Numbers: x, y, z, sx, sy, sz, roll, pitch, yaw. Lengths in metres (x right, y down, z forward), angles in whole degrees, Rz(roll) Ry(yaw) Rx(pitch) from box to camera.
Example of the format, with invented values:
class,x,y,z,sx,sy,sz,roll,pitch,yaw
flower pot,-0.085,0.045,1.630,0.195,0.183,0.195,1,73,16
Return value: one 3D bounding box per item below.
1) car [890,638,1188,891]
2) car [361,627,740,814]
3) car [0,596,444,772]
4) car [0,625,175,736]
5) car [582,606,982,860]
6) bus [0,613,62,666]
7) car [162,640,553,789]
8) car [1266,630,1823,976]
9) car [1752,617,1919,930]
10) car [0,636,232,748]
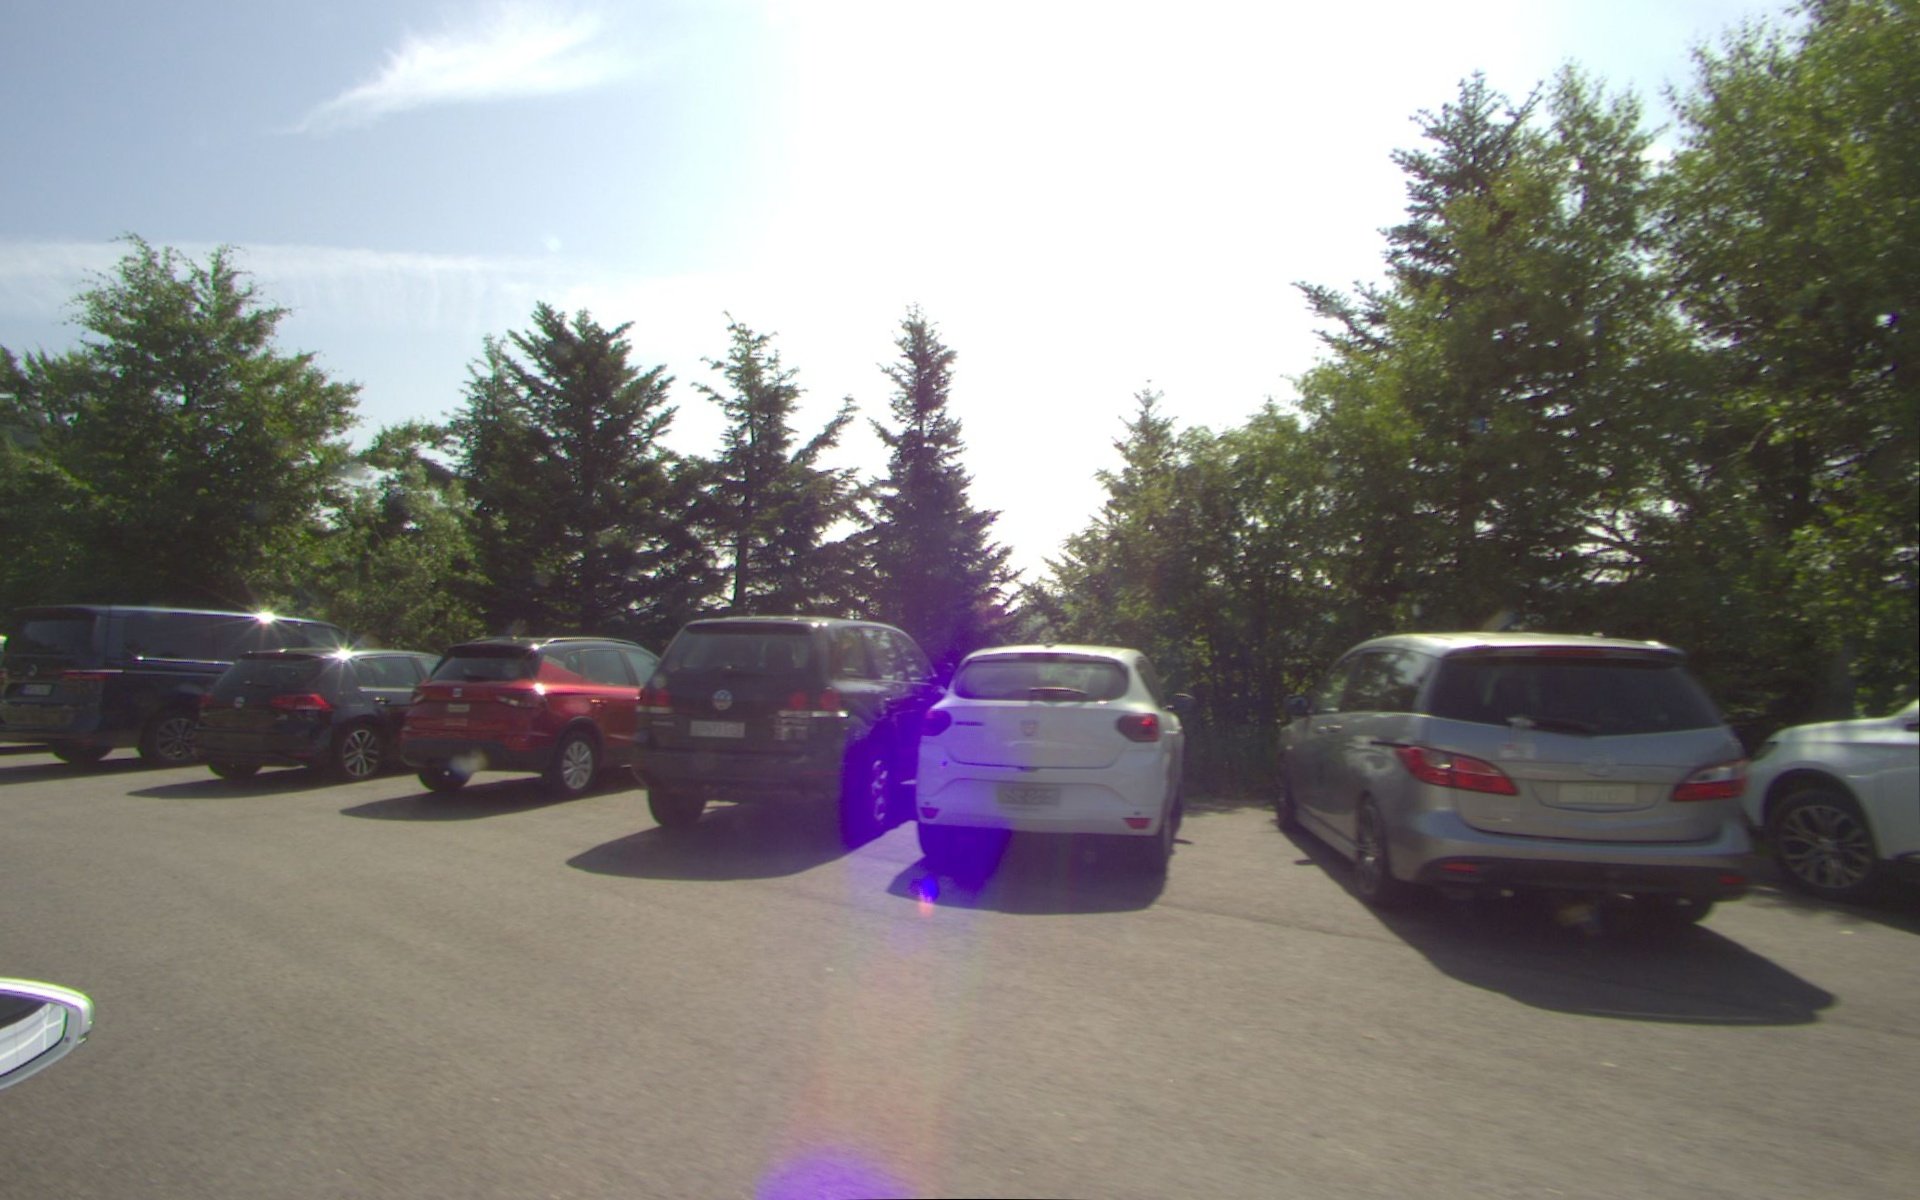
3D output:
class,x,y,z,sx,sy,sz,roll,pitch,yaw
car,0.903,1.117,8.149,1.735,1.494,4.000,0,-4,15
car,-4.165,1.196,10.997,1.829,1.609,4.000,1,-3,13
car,-9.672,1.064,13.441,1.932,1.903,4.767,0,-3,20
car,-15.423,1.288,16.101,1.962,1.681,4.004,0,-6,12
car,-1.271,1.050,9.206,1.954,1.715,4.273,1,-3,15
bus,-70.725,2.672,69.024,12.736,3.625,2.961,2,0,-34
car,-6.883,1.264,12.024,1.712,1.432,4.001,1,-3,12
car,3.372,1.070,6.774,1.785,1.568,4.003,1,-3,7
car,6.162,0.931,4.590,1.827,1.716,4.230,1,-2,2
car,-13.040,1.256,14.256,1.807,1.460,3.997,1,-3,18
